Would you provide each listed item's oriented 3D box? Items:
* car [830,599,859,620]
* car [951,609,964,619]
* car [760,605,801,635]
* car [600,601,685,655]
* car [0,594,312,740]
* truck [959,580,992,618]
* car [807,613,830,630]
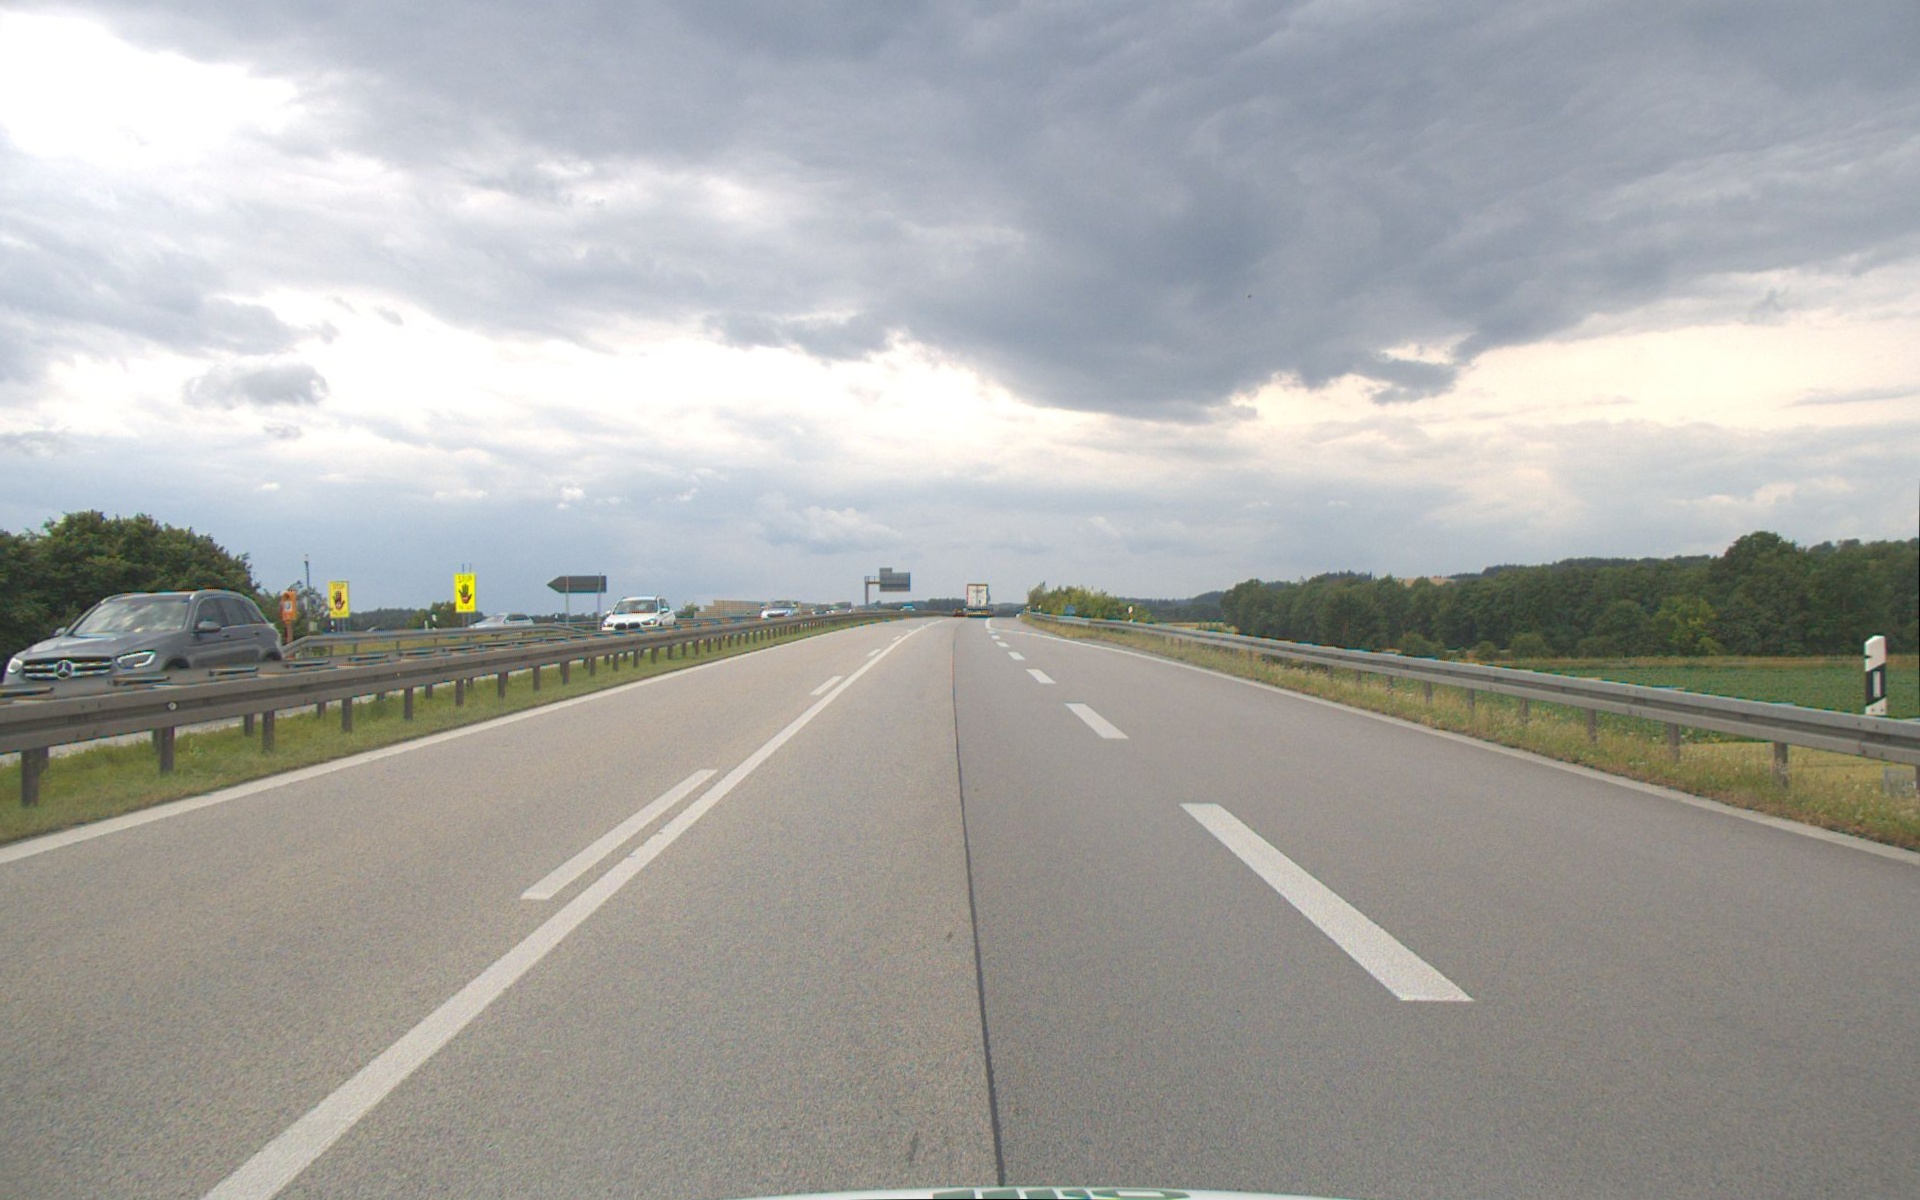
[{"bbox_3d":[-9.724,0.786,139.144,2.092,1.616,4.998,-1,0,-1],"label":"car"},{"bbox_3d":[-0.358,2.116,250.742,1.953,1.445,3.999,1,0,-1],"label":"car"},{"bbox_3d":[-10.203,1.114,94.207,1.853,1.616,4.761,-1,0,-1],"label":"car"},{"bbox_3d":[-10.211,0.878,53.507,1.816,1.616,4.816,-1,0,-1],"label":"car"},{"bbox_3d":[-10.146,0.762,21.162,1.853,1.616,4.761,-1,0,-1],"label":"car"},{"bbox_3d":[2.053,-0.034,211.274,3.596,4.490,16.343,-1,-1,2],"label":"truck"},{"bbox_3d":[-12.884,1.946,150.870,1.763,1.417,4.000,1,0,0],"label":"car"}]
